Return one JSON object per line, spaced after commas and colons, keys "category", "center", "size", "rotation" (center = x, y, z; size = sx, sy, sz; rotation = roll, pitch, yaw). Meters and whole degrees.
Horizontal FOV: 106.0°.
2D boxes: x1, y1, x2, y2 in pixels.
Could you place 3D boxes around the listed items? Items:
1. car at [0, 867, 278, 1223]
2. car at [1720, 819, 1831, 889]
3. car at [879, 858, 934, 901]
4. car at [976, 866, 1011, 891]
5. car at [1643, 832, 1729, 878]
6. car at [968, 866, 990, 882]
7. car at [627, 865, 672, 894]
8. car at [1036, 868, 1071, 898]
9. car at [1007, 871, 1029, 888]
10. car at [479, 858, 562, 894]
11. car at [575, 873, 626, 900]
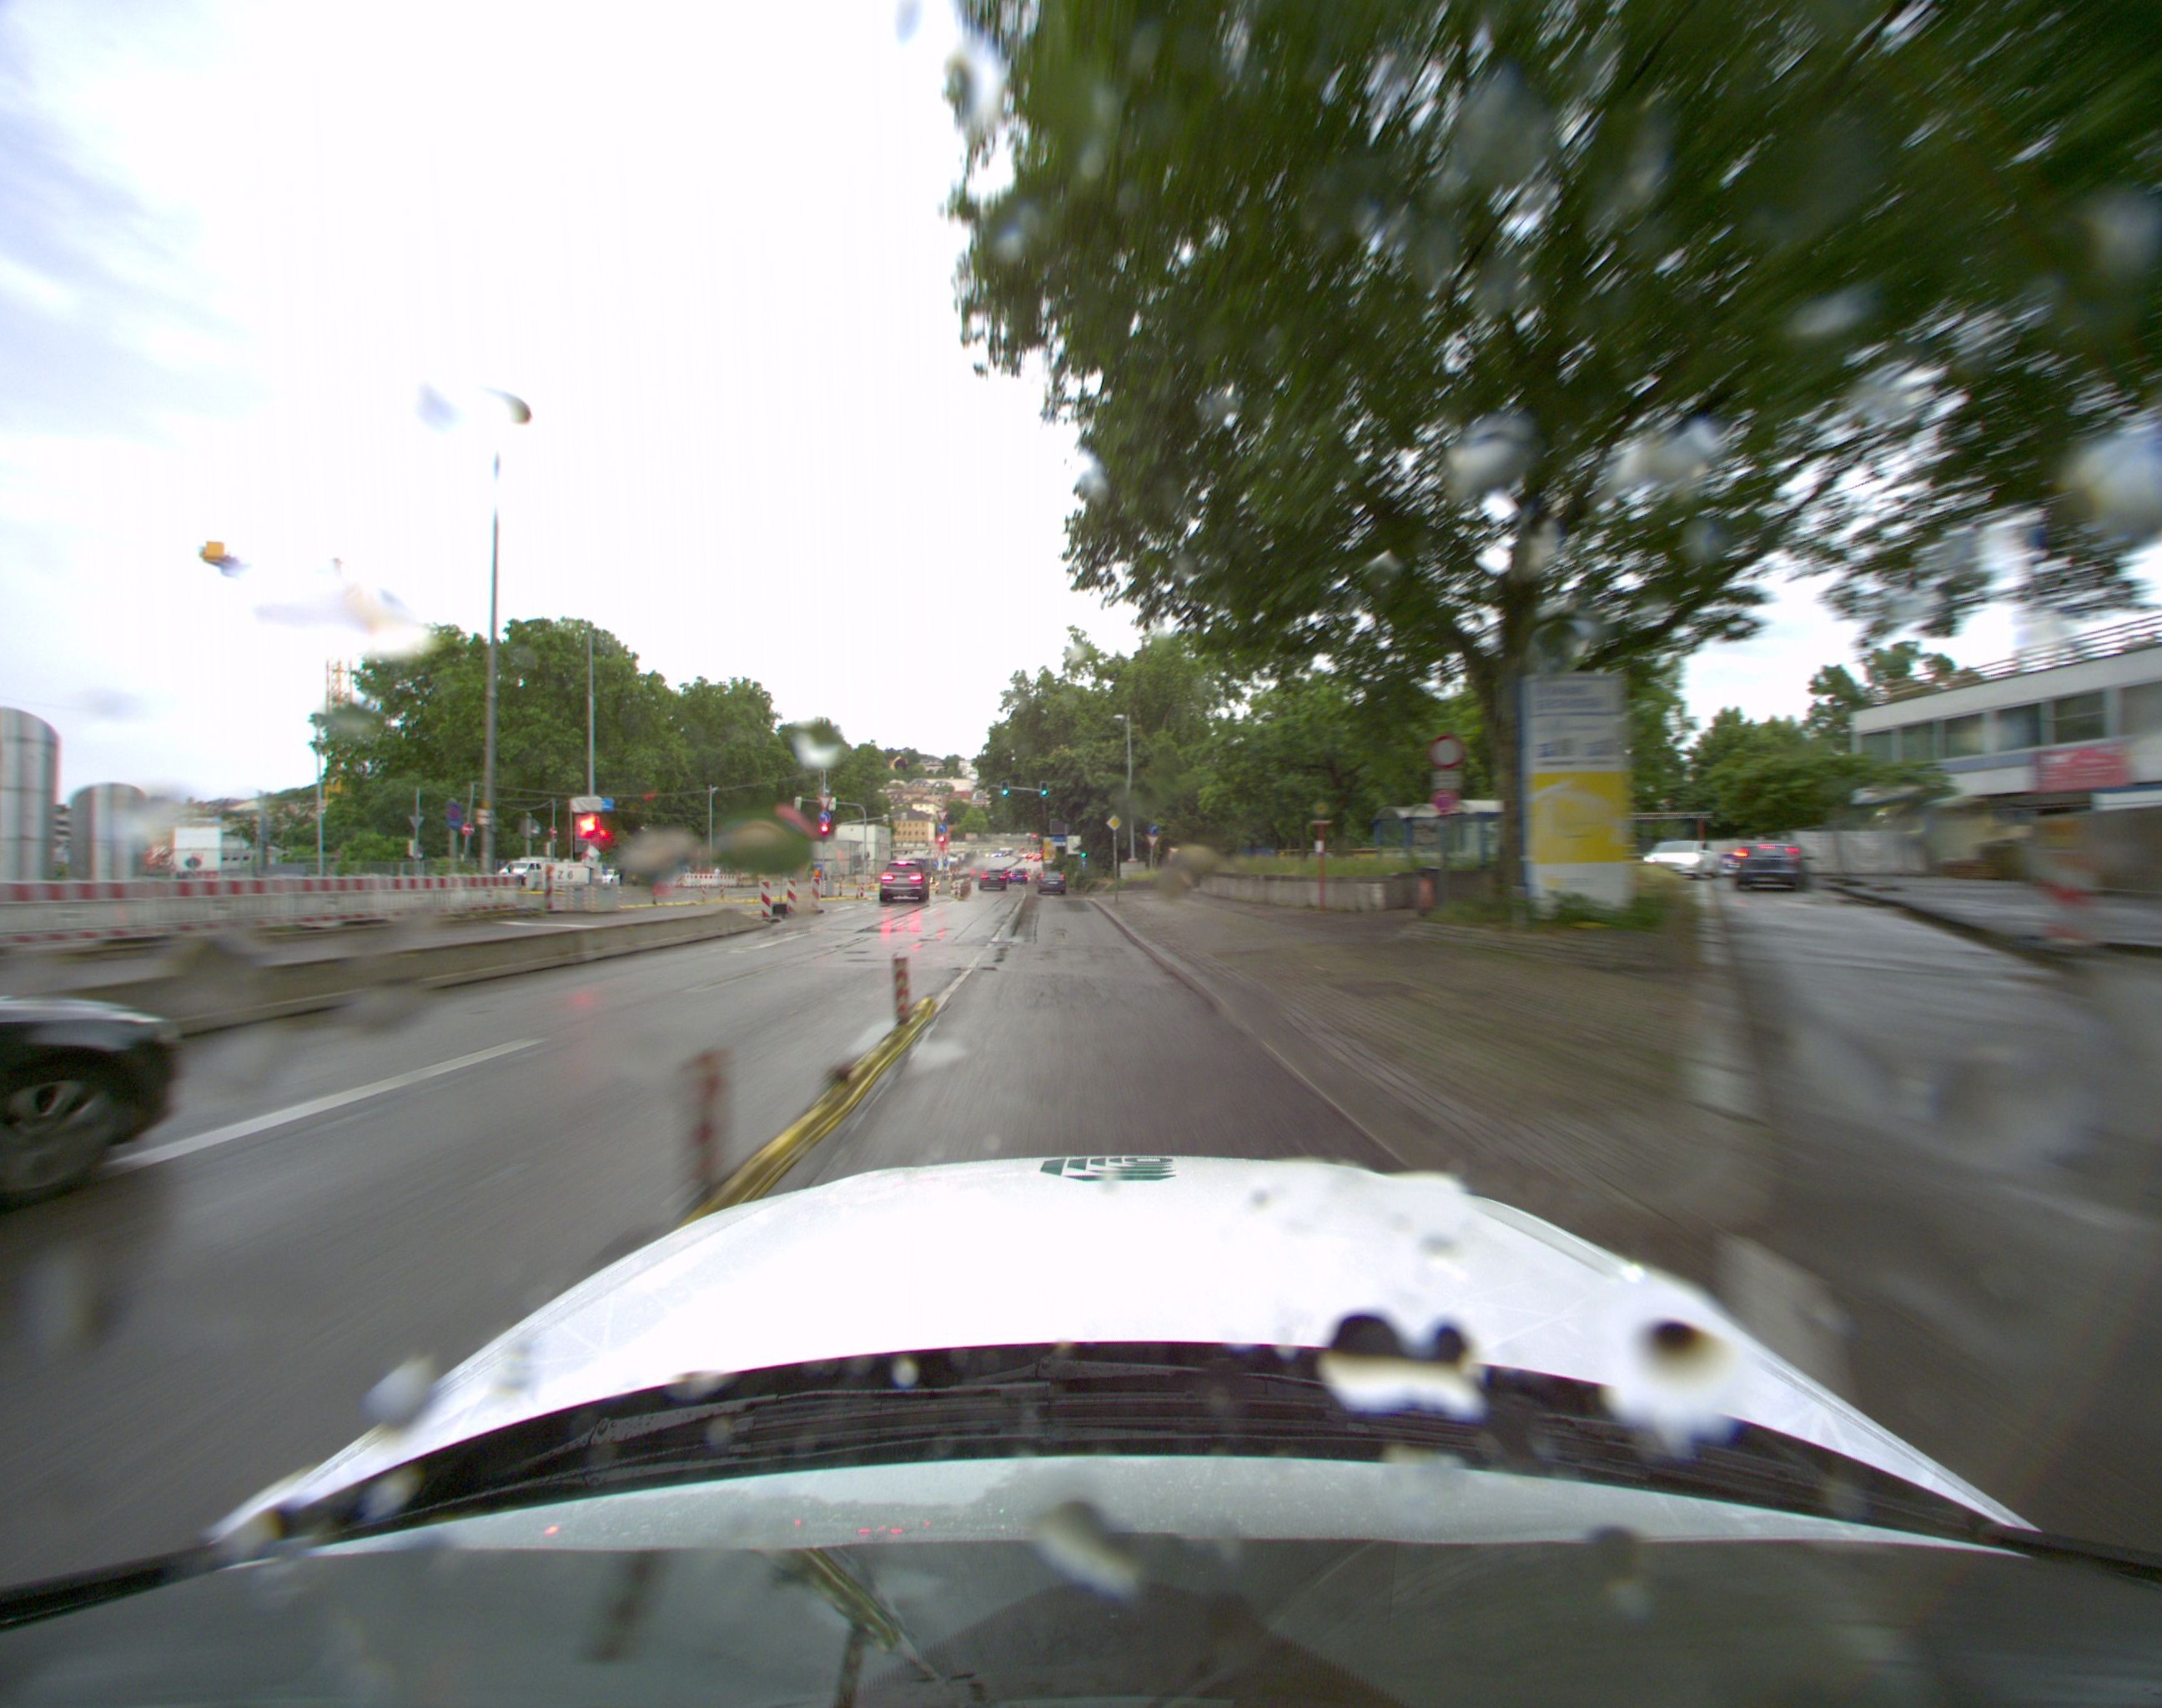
{"category": "car", "center": [-5.525, 0.800, 2.195], "size": [1.871, 1.508, 4.851], "rotation": [0, -1, 0]}
{"category": "car", "center": [22.011, 0.041, 25.742], "size": [4.674, 2.014, 2.108], "rotation": [1, -2, -43]}
{"category": "car", "center": [-7.824, 1.142, 36.850], "size": [1.991, 1.827, 3.991], "rotation": [0, -1, -6]}
{"category": "car", "center": [-6.120, 1.675, 57.170], "size": [1.823, 1.686, 4.136], "rotation": [-1, -1, 3]}
{"category": "car", "center": [25.470, 0.089, 34.242], "size": [4.477, 1.781, 1.927], "rotation": [1, -2, -40]}
{"category": "car", "center": [-11.760, 2.300, 94.434], "size": [1.896, 1.717, 4.002], "rotation": [0, -1, 2]}
{"category": "car", "center": [-36.557, 2.146, 69.135], "size": [1.915, 2.362, 4.502], "rotation": [-2, -1, -8]}
{"category": "car", "center": [-1.642, 1.725, 49.509], "size": [1.844, 1.717, 4.002], "rotation": [0, -1, 2]}
{"category": "car", "center": [-6.084, 2.451, 79.166], "size": [1.667, 1.581, 3.242], "rotation": [0, -1, 4]}
{"category": "car", "center": [-45.278, 1.775, 65.968], "size": [2.373, 2.702, 5.795], "rotation": [-2, -1, 4]}
{"category": "car", "center": [-38.876, 2.625, 66.013], "size": [1.913, 2.014, 3.993], "rotation": [-2, -1, -4]}
